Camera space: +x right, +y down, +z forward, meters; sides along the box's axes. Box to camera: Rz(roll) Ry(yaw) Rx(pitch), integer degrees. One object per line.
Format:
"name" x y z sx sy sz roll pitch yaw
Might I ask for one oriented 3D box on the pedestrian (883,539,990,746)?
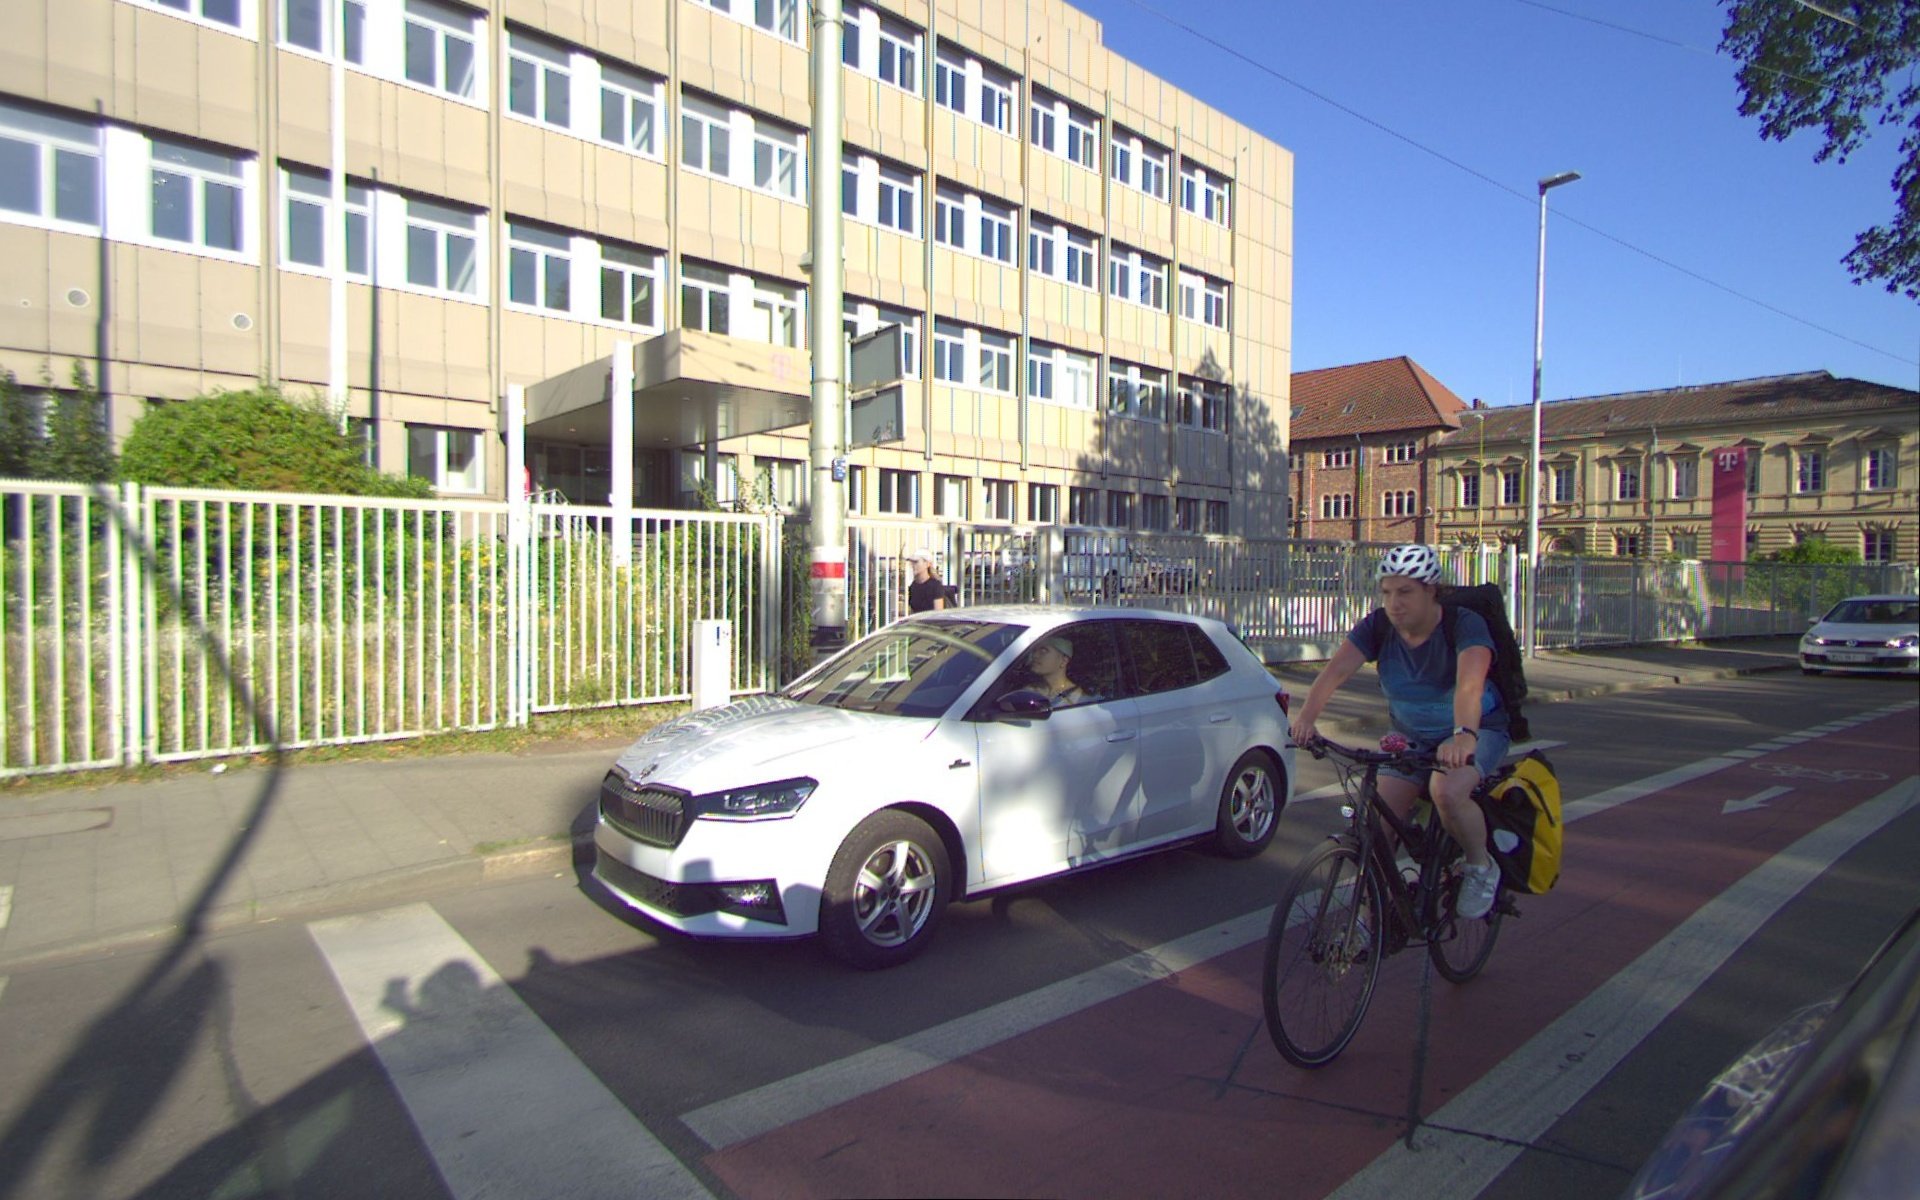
"pedestrian" -0.212 0.353 9.179 0.756 1.784 0.592 0 2 -37

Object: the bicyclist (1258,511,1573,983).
"bicyclist" 1.633 0.438 3.636 0.844 1.440 0.728 -1 1 -38

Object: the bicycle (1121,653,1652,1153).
"bicycle" 1.642 0.846 3.651 2.265 1.158 0.764 -1 2 -39

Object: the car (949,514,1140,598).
"car" 2.157 -1.042 24.855 4.703 1.865 1.997 -1 2 -42

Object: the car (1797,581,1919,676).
"car" 16.787 0.429 17.983 4.218 1.521 1.795 -1 0 -34

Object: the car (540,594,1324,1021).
"car" 0.097 0.692 5.383 4.003 1.406 1.704 -1 1 -40

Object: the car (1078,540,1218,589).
"car" 6.465 -1.231 35.193 1.966 1.600 4.570 -1 2 -42
